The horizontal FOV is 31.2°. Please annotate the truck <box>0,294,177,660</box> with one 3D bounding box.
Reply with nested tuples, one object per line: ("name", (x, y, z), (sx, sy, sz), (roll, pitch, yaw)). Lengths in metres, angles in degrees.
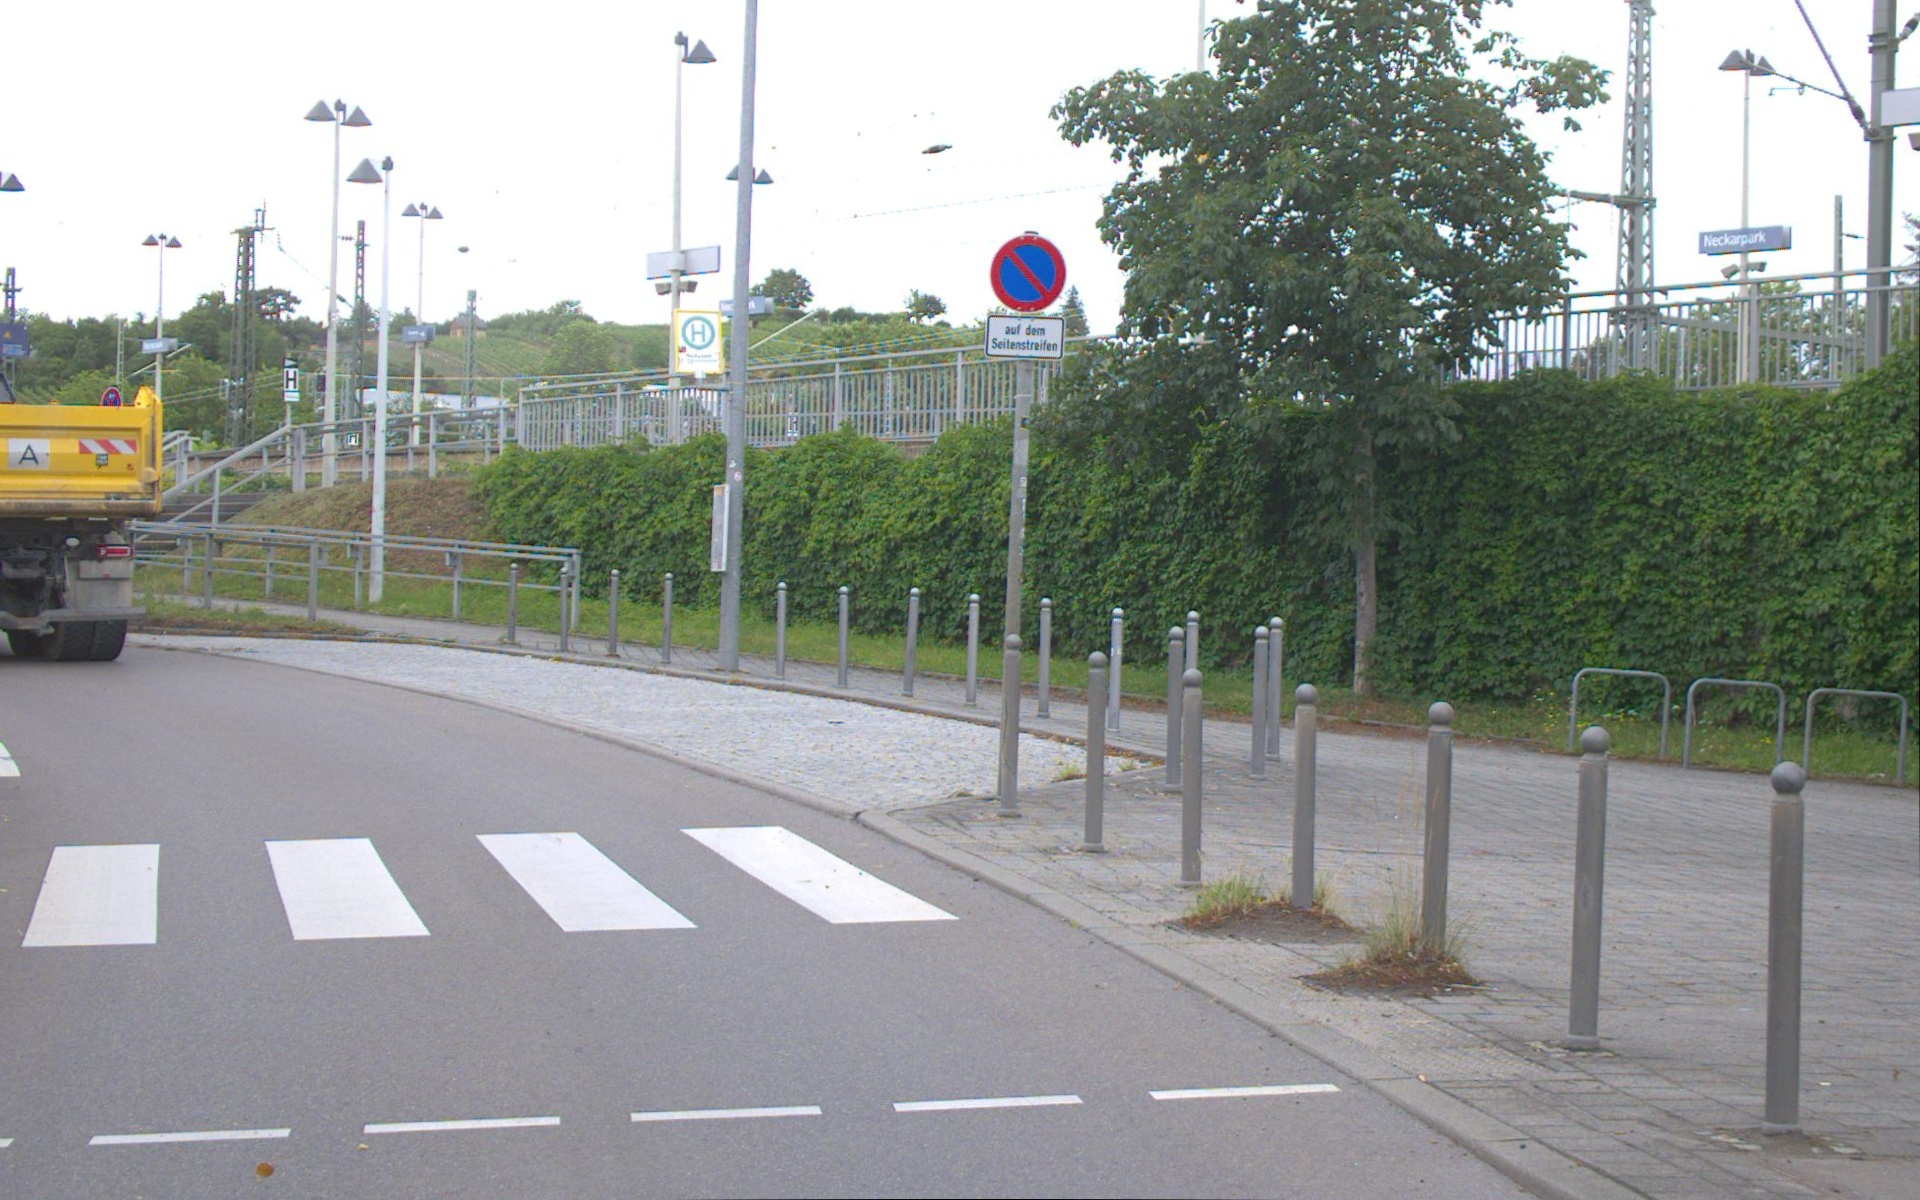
("truck", (-10.831, -1.357, 36.321), (2.764, 3.471, 8.130), (0, 3, -29))
